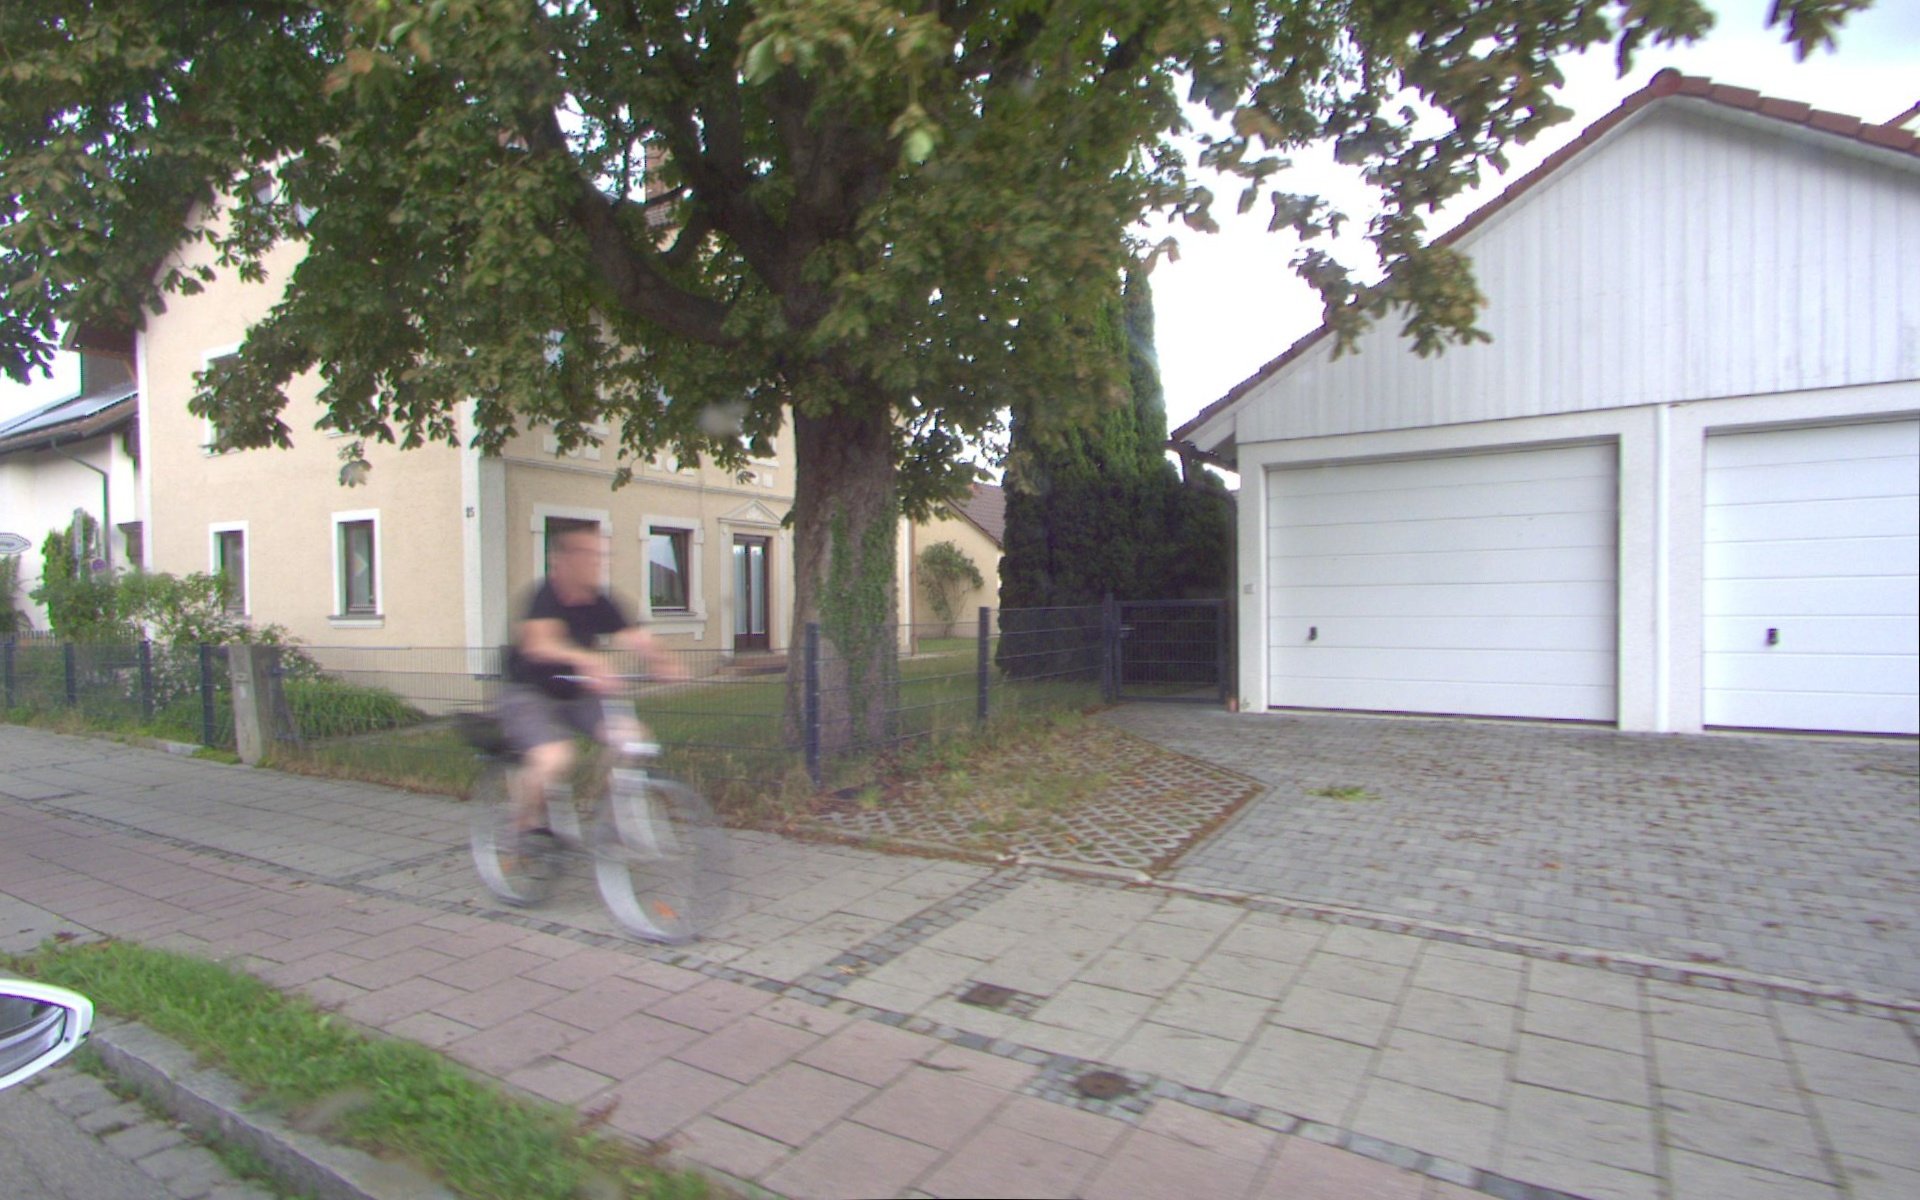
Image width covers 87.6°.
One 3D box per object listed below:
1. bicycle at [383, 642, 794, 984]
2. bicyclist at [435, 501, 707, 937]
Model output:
[{"bbox_3d":[-1.647,0.779,4.329,1.820,1.158,0.762,-1,0,34],"label":"bicycle"},{"bbox_3d":[-1.683,0.462,4.353,0.878,1.654,0.734,0,0,34],"label":"bicyclist"}]
